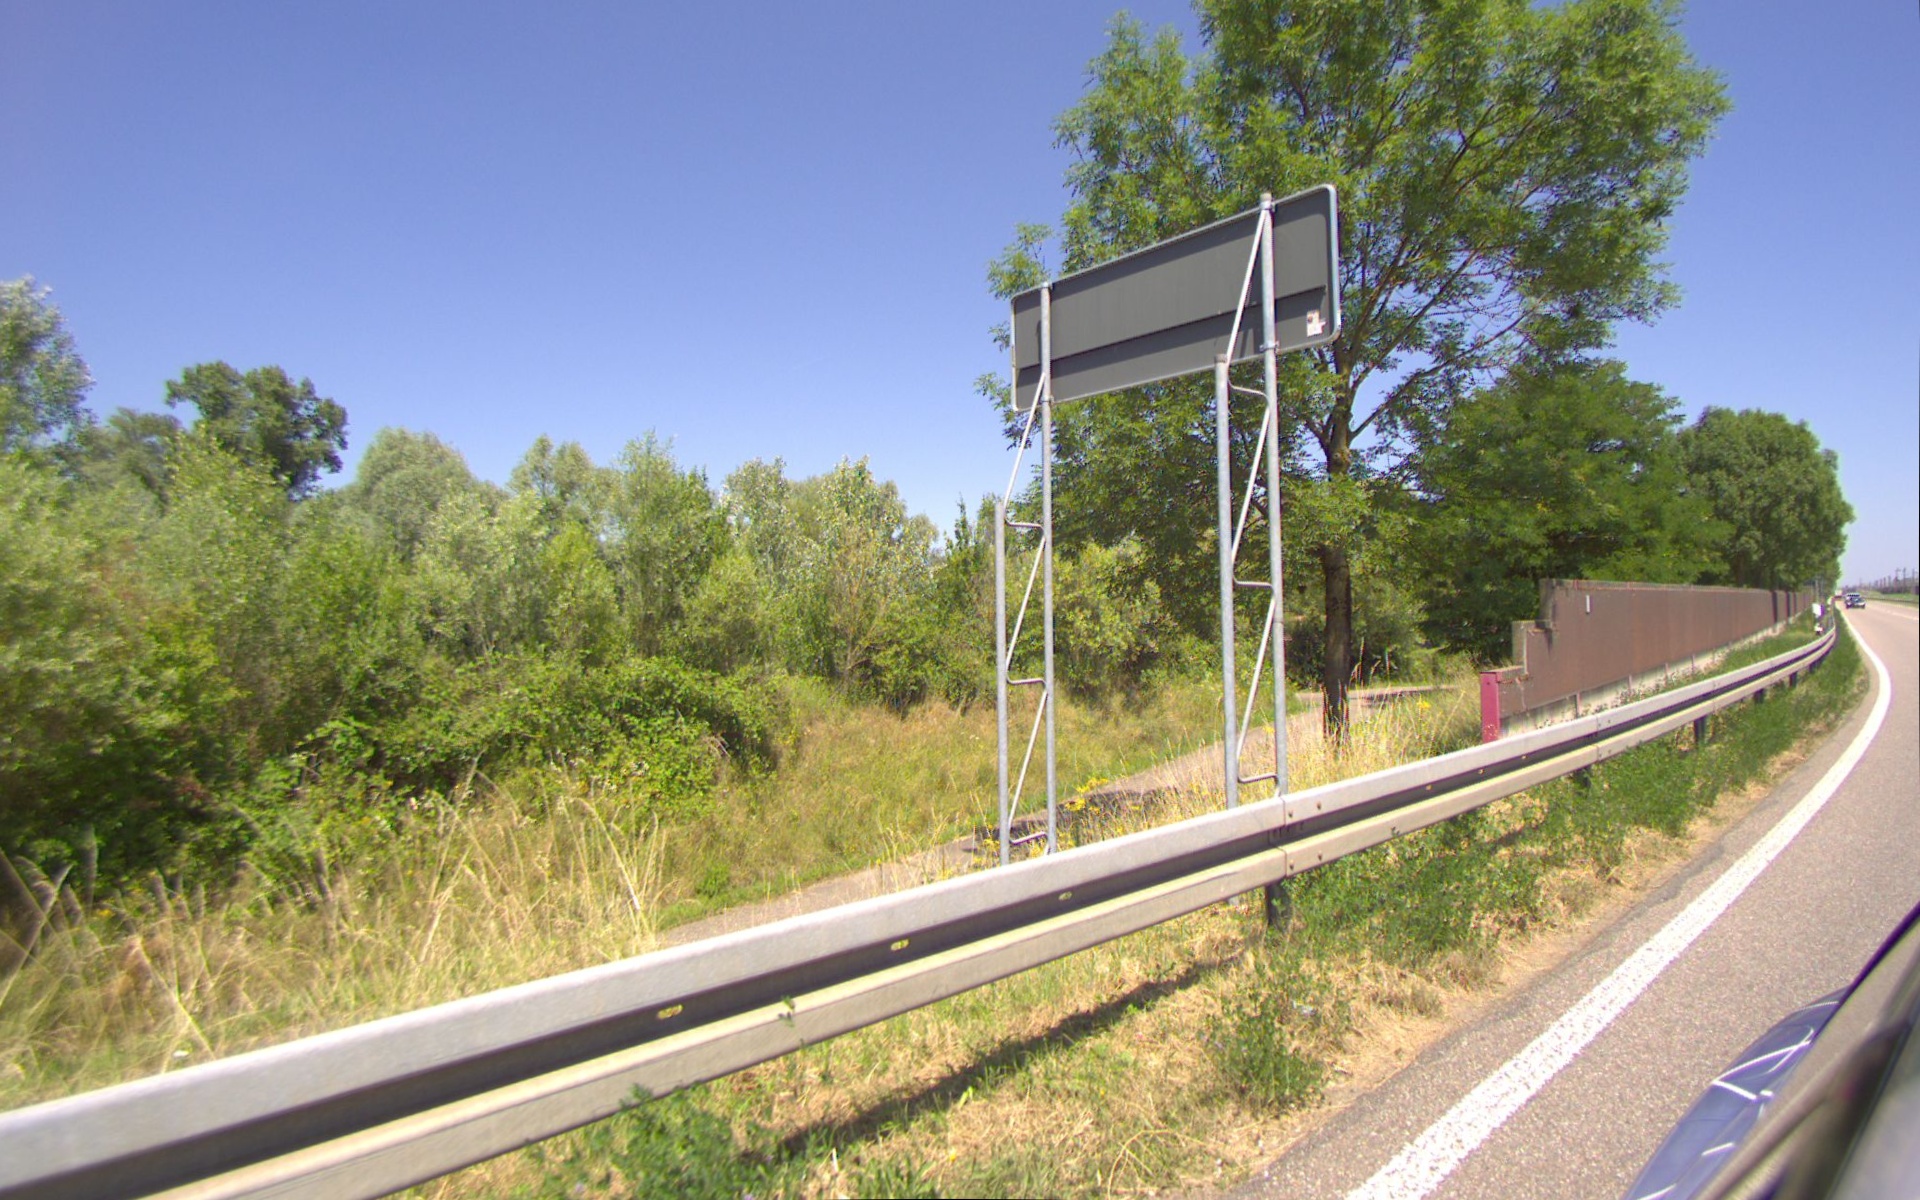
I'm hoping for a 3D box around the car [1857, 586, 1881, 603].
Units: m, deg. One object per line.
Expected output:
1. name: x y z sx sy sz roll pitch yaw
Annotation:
1. car: 113.664 -0.657 126.557 1.994 2.039 3.936 -1 0 44
